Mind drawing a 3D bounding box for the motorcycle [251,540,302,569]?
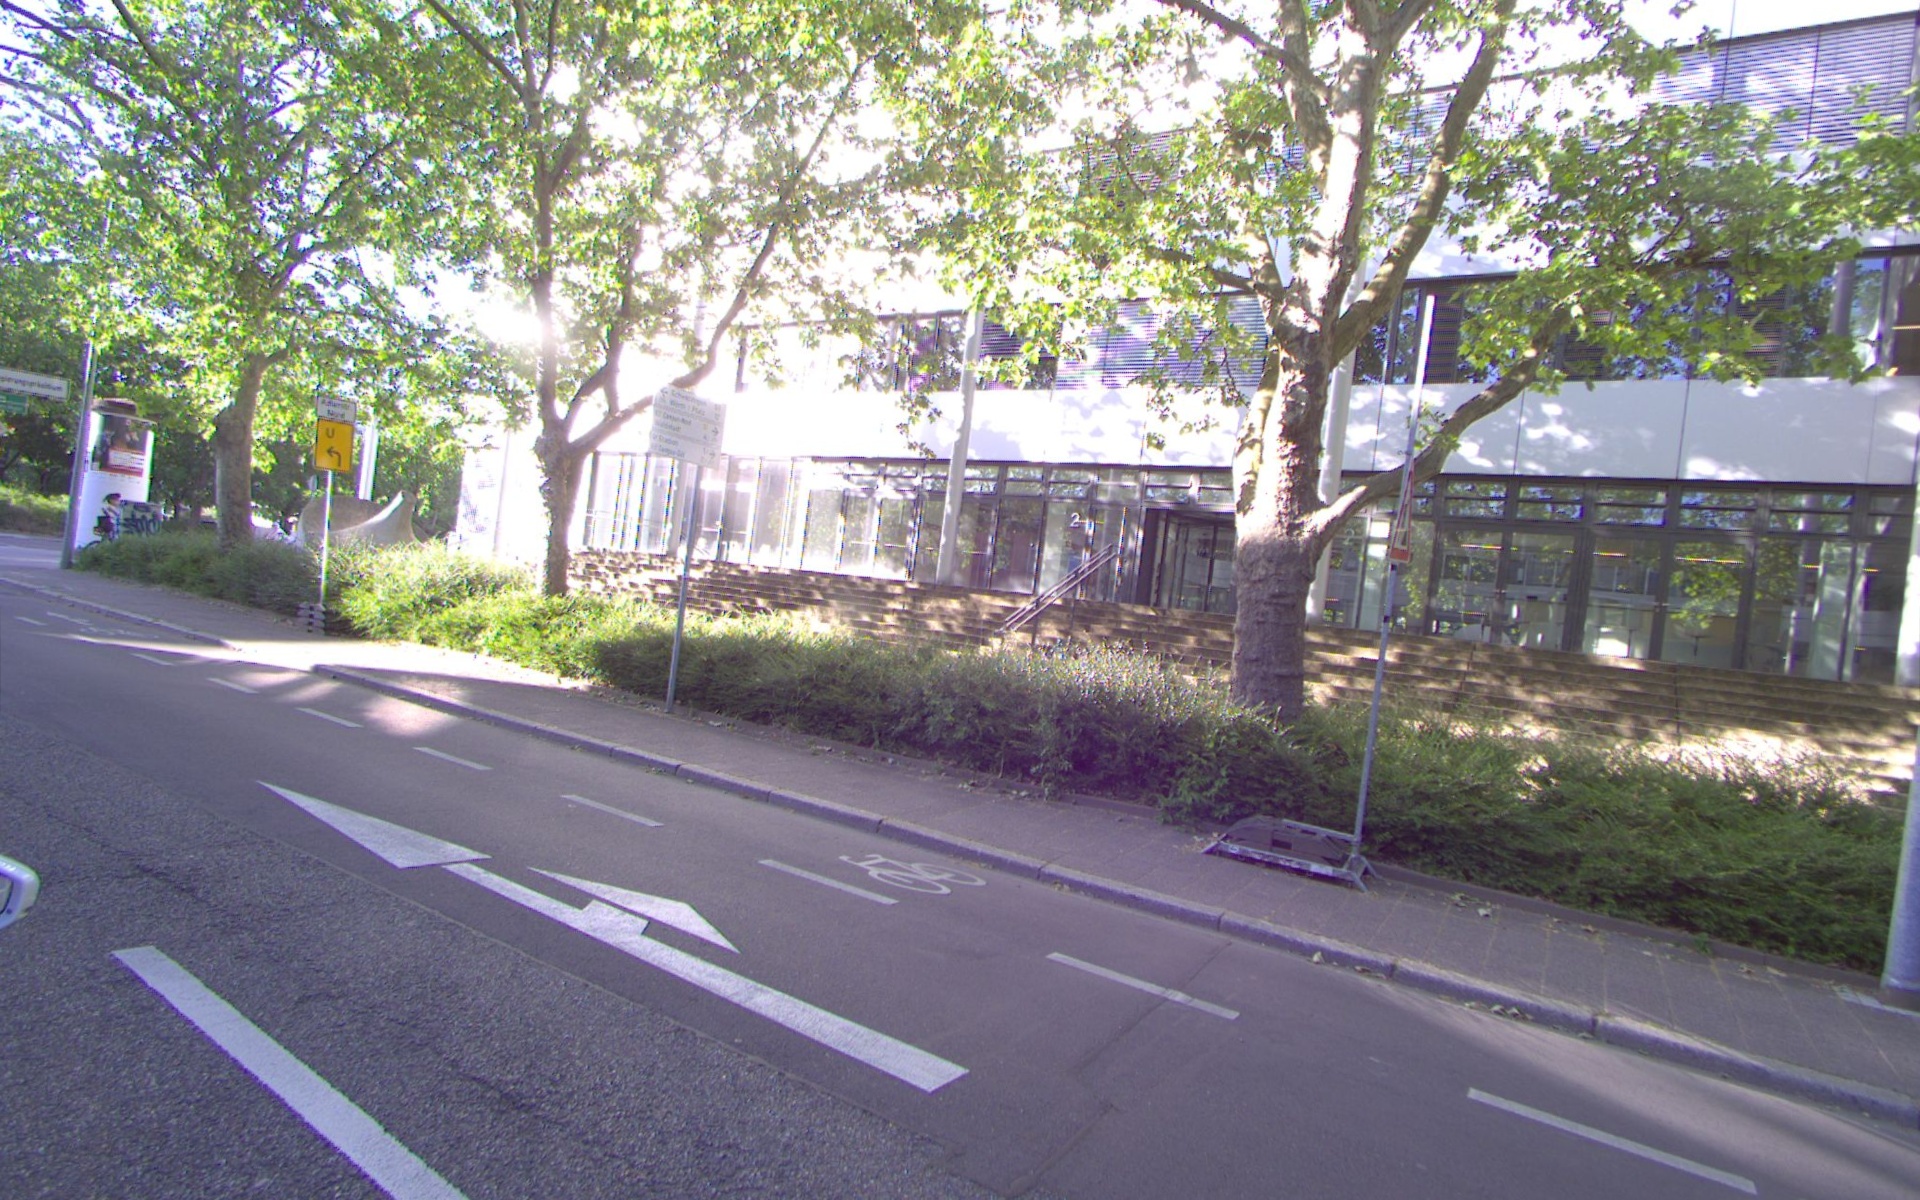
[{"bbox_3d":[-29.750,-1.958,43.785,0.409,1.014,1.720,7,-1,36],"label":"motorcycle"}]

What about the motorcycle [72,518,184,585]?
[{"bbox_3d":[-19.220,-1.096,23.278,0.712,1.257,1.782,6,-2,37],"label":"motorcycle"}]

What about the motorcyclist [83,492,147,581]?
[{"bbox_3d":[-19.347,-1.451,23.030,0.662,1.885,0.823,6,-1,37],"label":"motorcyclist"}]

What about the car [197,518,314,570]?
[{"bbox_3d":[-32.695,-2.568,46.819,1.708,1.792,3.995,7,-1,30],"label":"car"}]

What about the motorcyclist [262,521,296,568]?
[{"bbox_3d":[-29.676,-2.394,43.826,0.370,1.899,0.983,6,0,36],"label":"motorcyclist"}]
